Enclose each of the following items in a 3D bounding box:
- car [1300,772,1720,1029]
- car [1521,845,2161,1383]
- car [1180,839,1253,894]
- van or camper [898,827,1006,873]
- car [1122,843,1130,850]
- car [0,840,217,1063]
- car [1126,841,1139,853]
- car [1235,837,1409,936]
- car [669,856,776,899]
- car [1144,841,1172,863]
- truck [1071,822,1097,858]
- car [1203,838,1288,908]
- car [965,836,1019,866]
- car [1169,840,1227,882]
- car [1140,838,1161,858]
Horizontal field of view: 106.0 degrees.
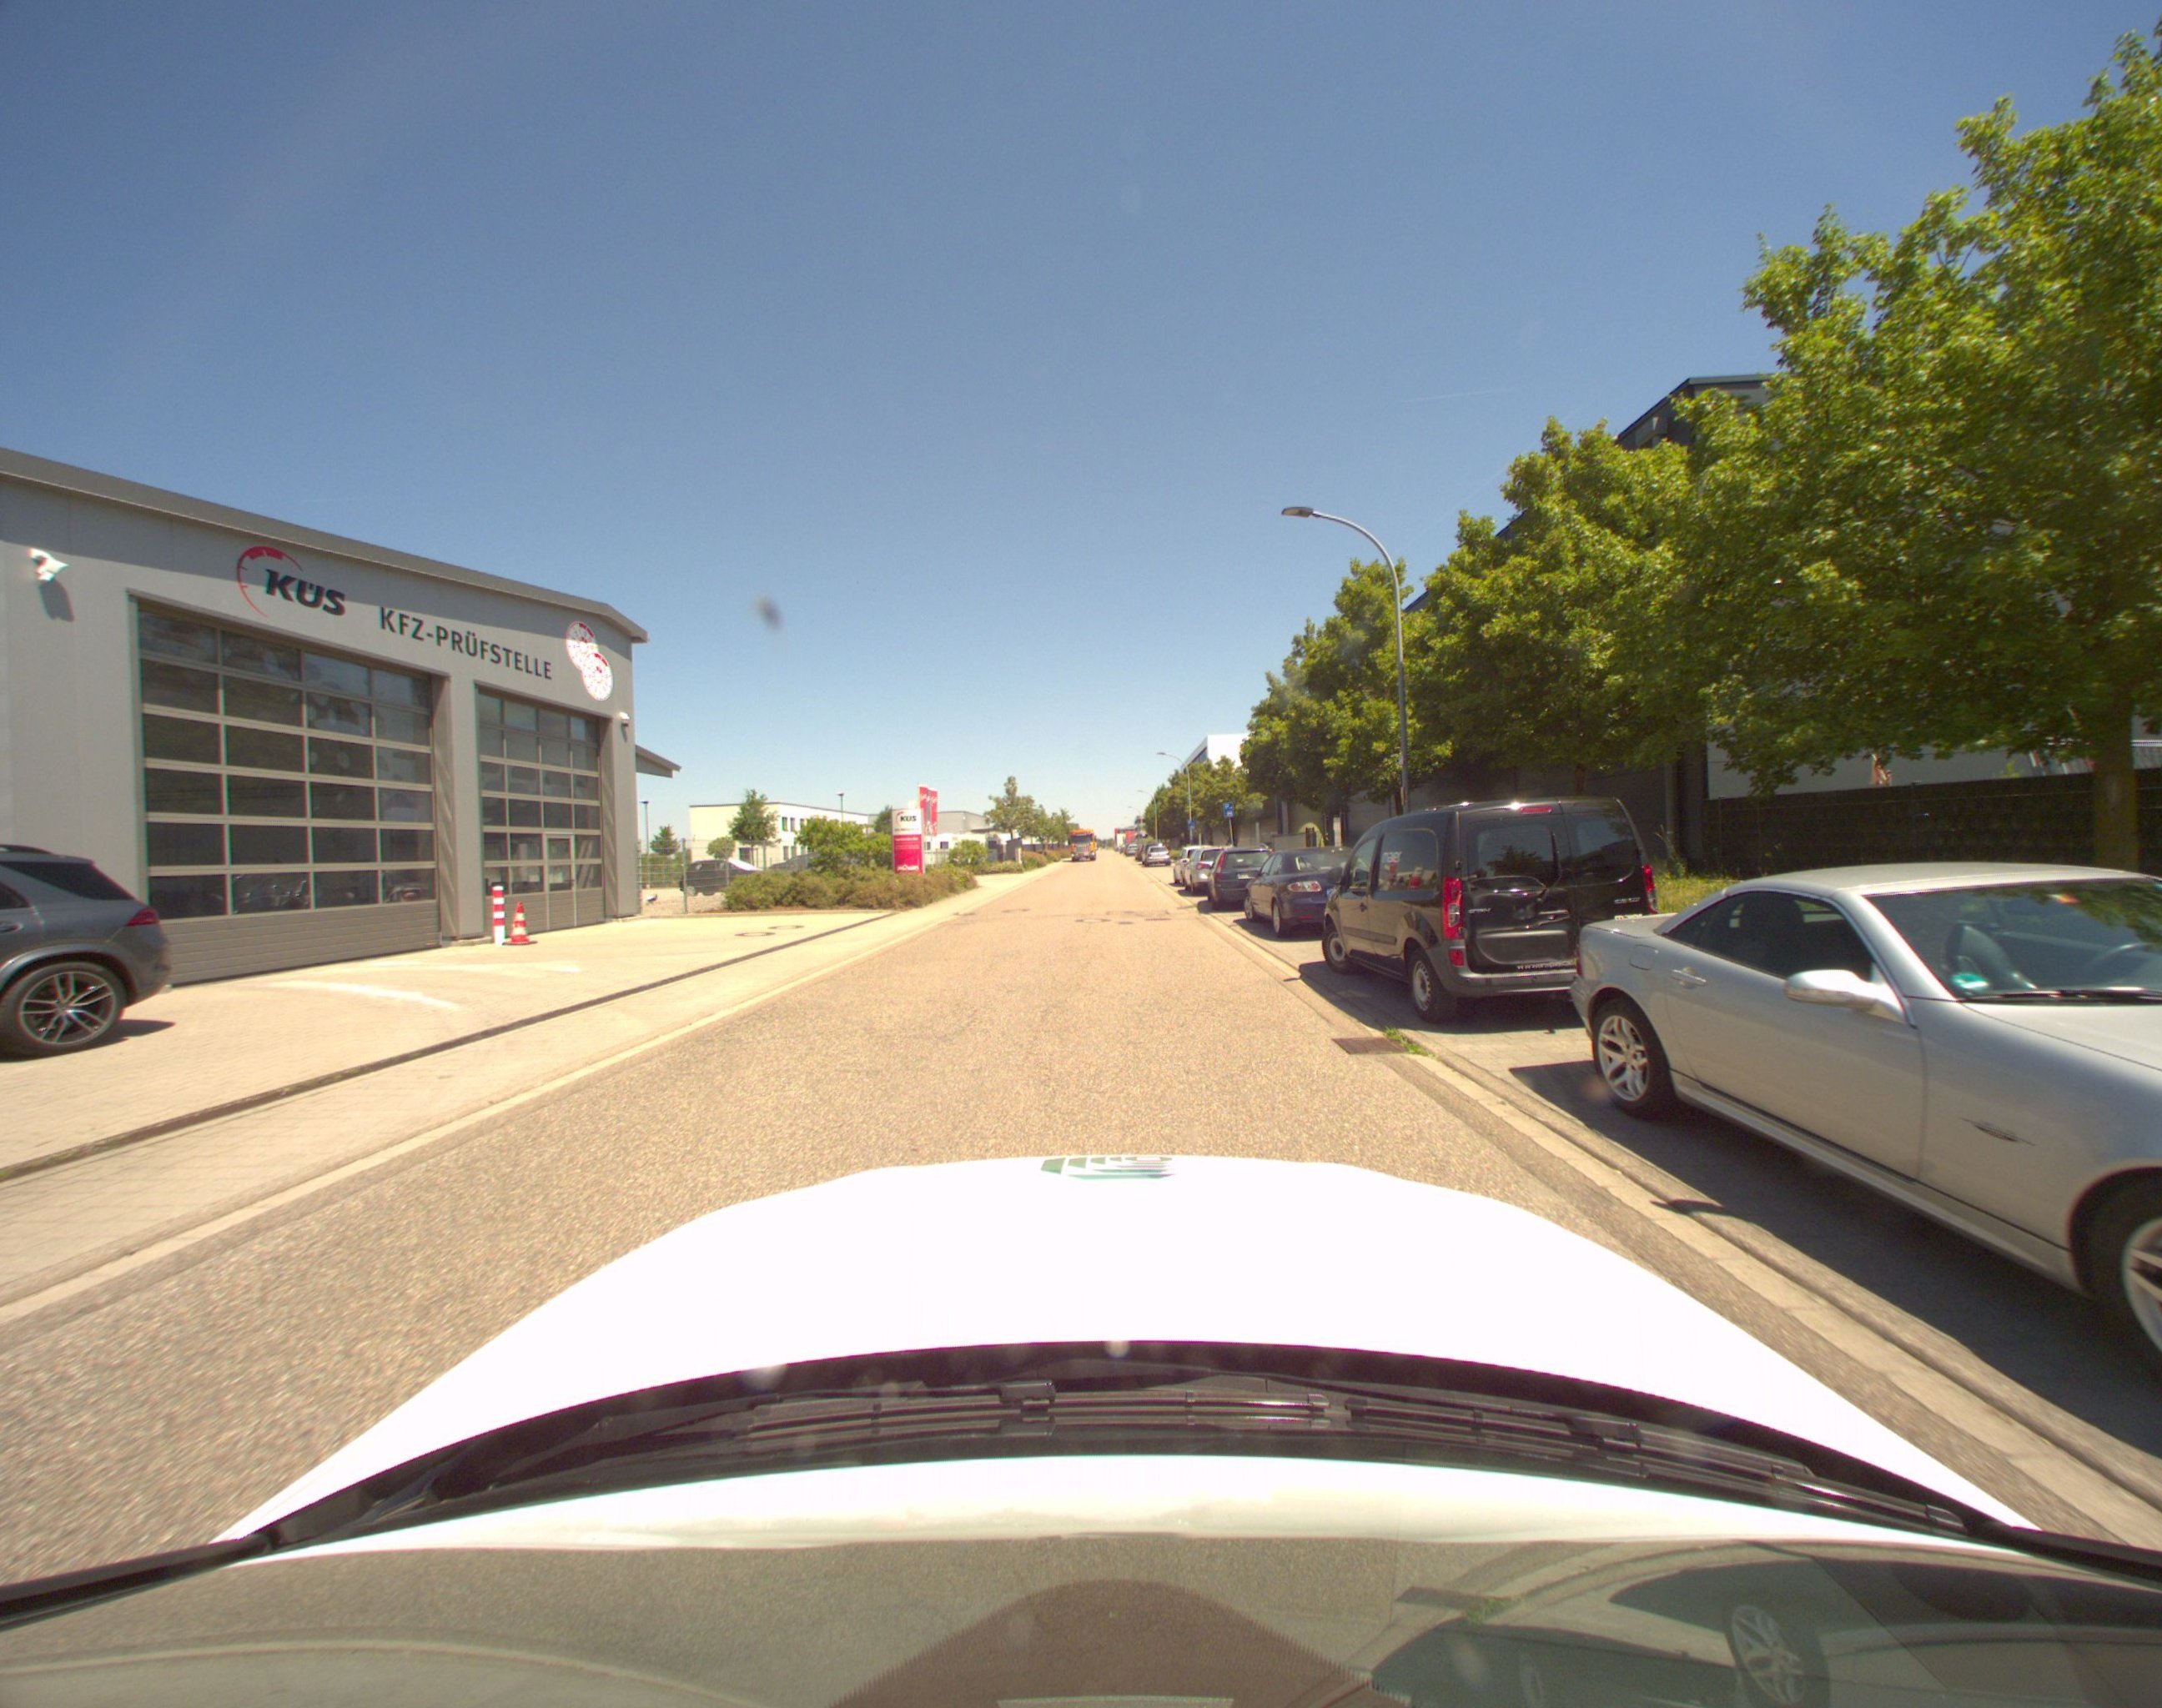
[{"bbox_3d":[3.767,0.346,8.233,1.986,1.825,4.355,-3,0,1],"label":"car"},{"bbox_3d":[3.597,0.642,3.186,1.704,1.287,4.119,-3,0,4],"label":"car"},{"bbox_3d":[4.315,0.333,26.498,1.741,1.561,4.509,-3,1,3],"label":"car"},{"bbox_3d":[-9.372,-0.309,59.742,7.359,3.037,2.791,-2,0,1],"label":"van or camper"},{"bbox_3d":[9.287,-1.637,168.872,1.489,1.409,3.502,-2,1,2],"label":"car"},{"bbox_3d":[-9.541,0.801,5.444,1.984,1.735,4.921,-1,1,5],"label":"car"},{"bbox_3d":[6.604,-0.920,104.476,1.579,1.409,3.502,-2,1,2],"label":"car"},{"bbox_3d":[4.104,0.494,14.729,1.843,1.431,4.715,-3,0,2],"label":"car"},{"bbox_3d":[-14.225,0.909,32.442,3.493,1.552,1.556,-2,0,-4],"label":"car"},{"bbox_3d":[5.410,-0.161,57.478,1.712,1.449,3.648,-3,0,2],"label":"car"},{"bbox_3d":[0.387,-1.518,88.111,2.439,3.512,8.276,-3,1,2],"label":"truck"},{"bbox_3d":[4.047,0.415,20.675,1.700,1.504,4.715,-3,0,7],"label":"car"},{"bbox_3d":[-8.292,-0.321,76.045,4.703,2.586,1.998,-2,0,-3],"label":"car"},{"bbox_3d":[4.540,0.244,32.115,1.631,1.469,3.744,-3,1,-1],"label":"car"},{"bbox_3d":[6.381,-0.587,75.364,1.715,1.694,3.987,-2,1,3],"label":"car"}]
